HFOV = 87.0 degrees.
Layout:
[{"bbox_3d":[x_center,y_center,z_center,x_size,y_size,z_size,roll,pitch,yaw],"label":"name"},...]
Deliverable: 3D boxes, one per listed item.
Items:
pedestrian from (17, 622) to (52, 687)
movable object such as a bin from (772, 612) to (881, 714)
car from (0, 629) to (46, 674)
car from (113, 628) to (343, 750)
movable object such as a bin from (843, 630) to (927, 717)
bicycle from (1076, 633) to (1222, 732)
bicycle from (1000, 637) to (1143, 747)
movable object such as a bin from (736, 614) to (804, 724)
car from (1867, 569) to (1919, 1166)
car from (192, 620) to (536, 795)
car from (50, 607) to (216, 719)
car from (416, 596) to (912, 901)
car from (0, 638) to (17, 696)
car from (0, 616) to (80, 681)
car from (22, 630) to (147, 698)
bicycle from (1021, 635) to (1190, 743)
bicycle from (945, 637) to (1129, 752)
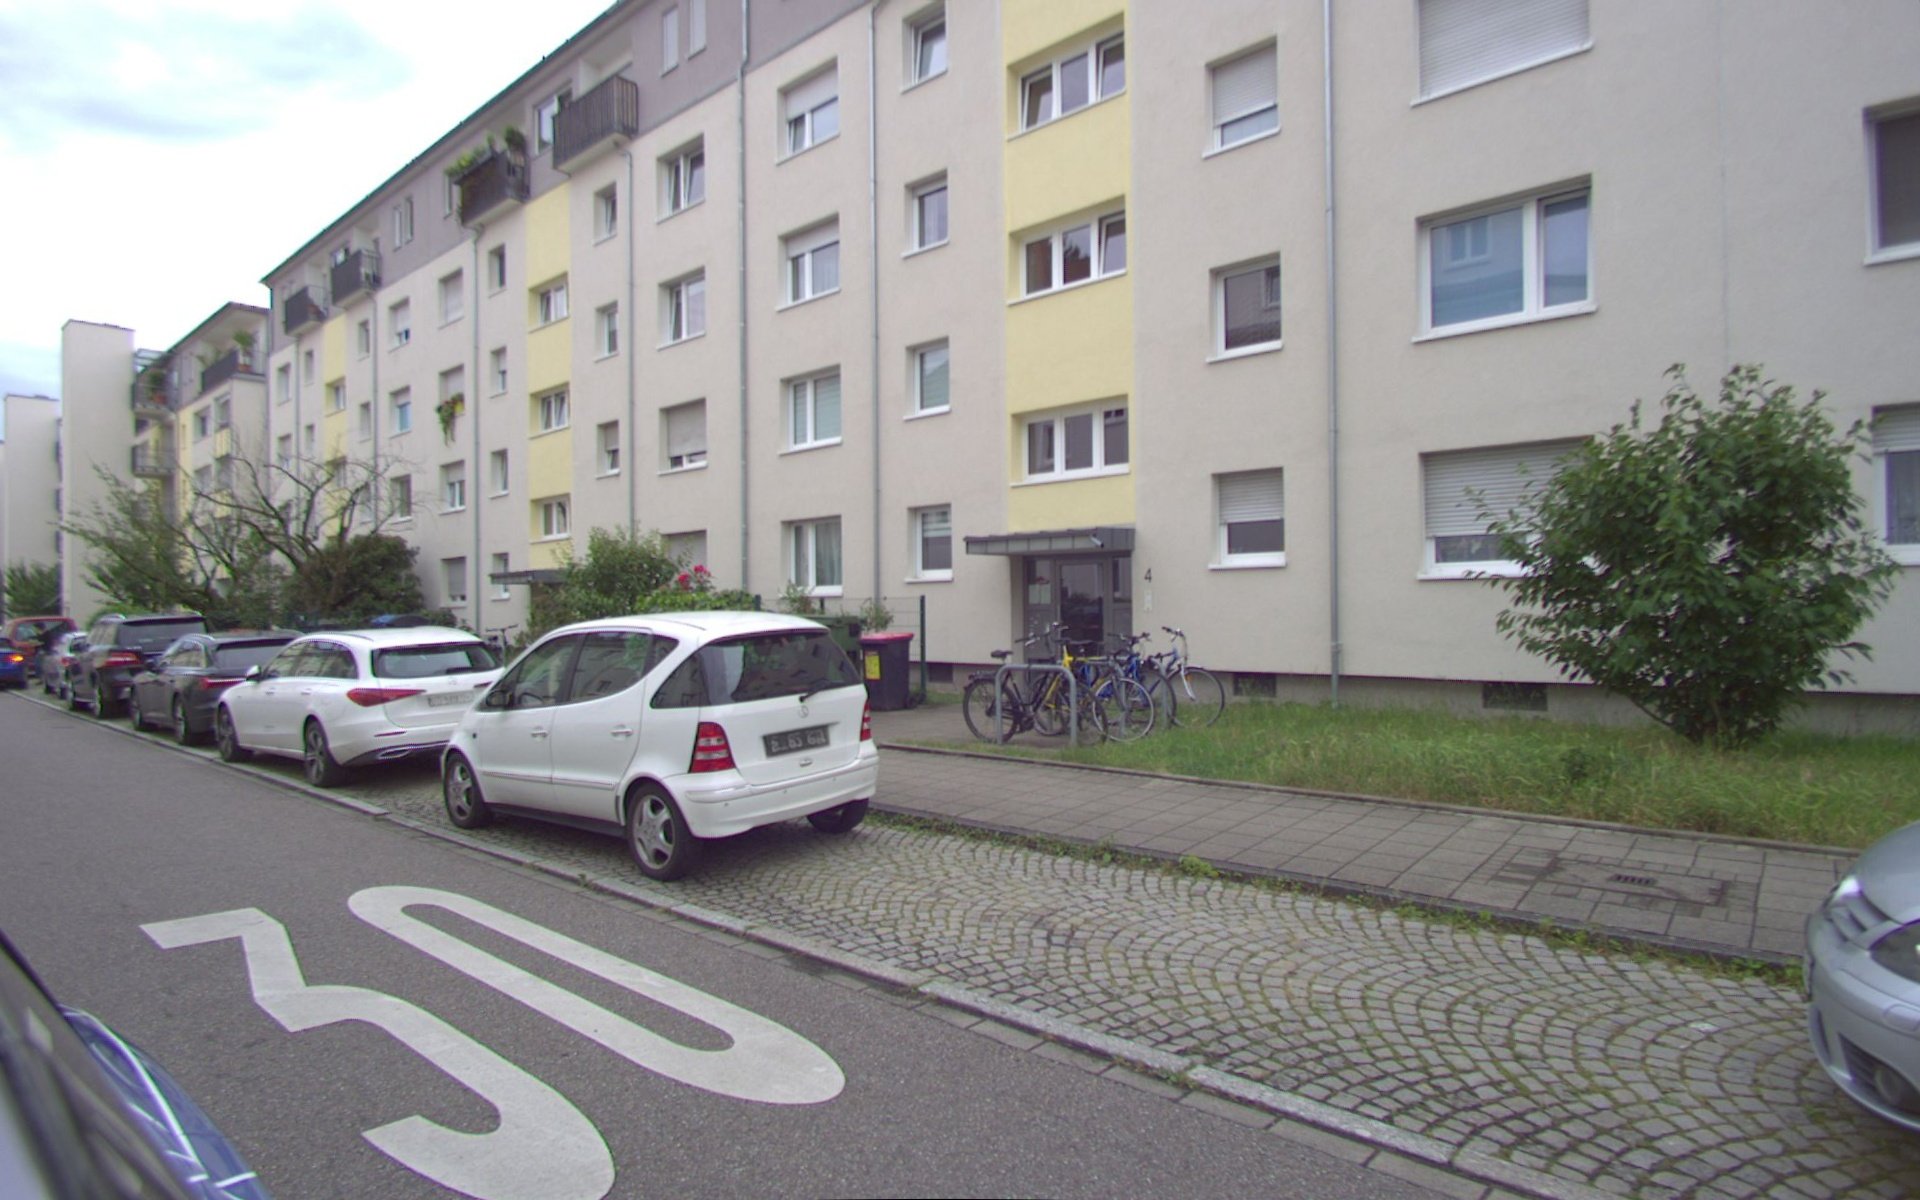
[{"bbox_3d":[-24.405,1.436,26.692,0.621,1.679,0.596,-2,-2,38],"label":"pedestrian"},{"bbox_3d":[-1.928,0.870,14.654,1.187,1.385,1.047,0,0,36],"label":"movable object such as a bin"},{"bbox_3d":[-32.477,1.758,34.306,3.538,1.455,1.686,-3,-2,39],"label":"car"},{"bbox_3d":[-10.551,1.148,14.461,4.480,1.464,1.707,-2,-1,41],"label":"car"},{"bbox_3d":[-1.036,0.996,14.051,0.786,1.117,0.861,0,0,37],"label":"movable object such as a bin"},{"bbox_3d":[2.076,0.888,11.234,1.557,1.032,0.416,-2,-2,38],"label":"bicycle"},{"bbox_3d":[1.106,0.903,10.268,1.496,1.032,0.352,-2,-2,41],"label":"bicycle"},{"bbox_3d":[-2.476,0.881,13.224,0.587,1.378,0.651,0,0,37],"label":"movable object such as a bin"},{"bbox_3d":[4.284,0.637,1.763,3.912,1.562,1.637,-2,0,40],"label":"car"},{"bbox_3d":[-6.647,1.041,11.058,4.681,1.521,1.701,-3,-2,39],"label":"car"},{"bbox_3d":[-15.033,1.088,18.319,4.448,1.793,1.555,-3,-2,40],"label":"car"},{"bbox_3d":[-2.287,0.854,7.338,3.724,1.651,1.668,-2,-2,40],"label":"car"},{"bbox_3d":[-24.909,1.655,25.278,3.907,1.325,1.658,-1,-1,42],"label":"car"},{"bbox_3d":[-27.811,1.446,30.257,3.538,1.820,1.686,-3,-2,39],"label":"car"},{"bbox_3d":[-20.026,1.439,23.122,3.538,1.408,1.556,-3,-2,39],"label":"car"},{"bbox_3d":[1.488,0.896,10.586,1.753,1.032,0.473,-2,-2,41],"label":"bicycle"},{"bbox_3d":[0.720,0.886,9.977,1.877,1.032,0.483,-2,-2,41],"label":"bicycle"}]
